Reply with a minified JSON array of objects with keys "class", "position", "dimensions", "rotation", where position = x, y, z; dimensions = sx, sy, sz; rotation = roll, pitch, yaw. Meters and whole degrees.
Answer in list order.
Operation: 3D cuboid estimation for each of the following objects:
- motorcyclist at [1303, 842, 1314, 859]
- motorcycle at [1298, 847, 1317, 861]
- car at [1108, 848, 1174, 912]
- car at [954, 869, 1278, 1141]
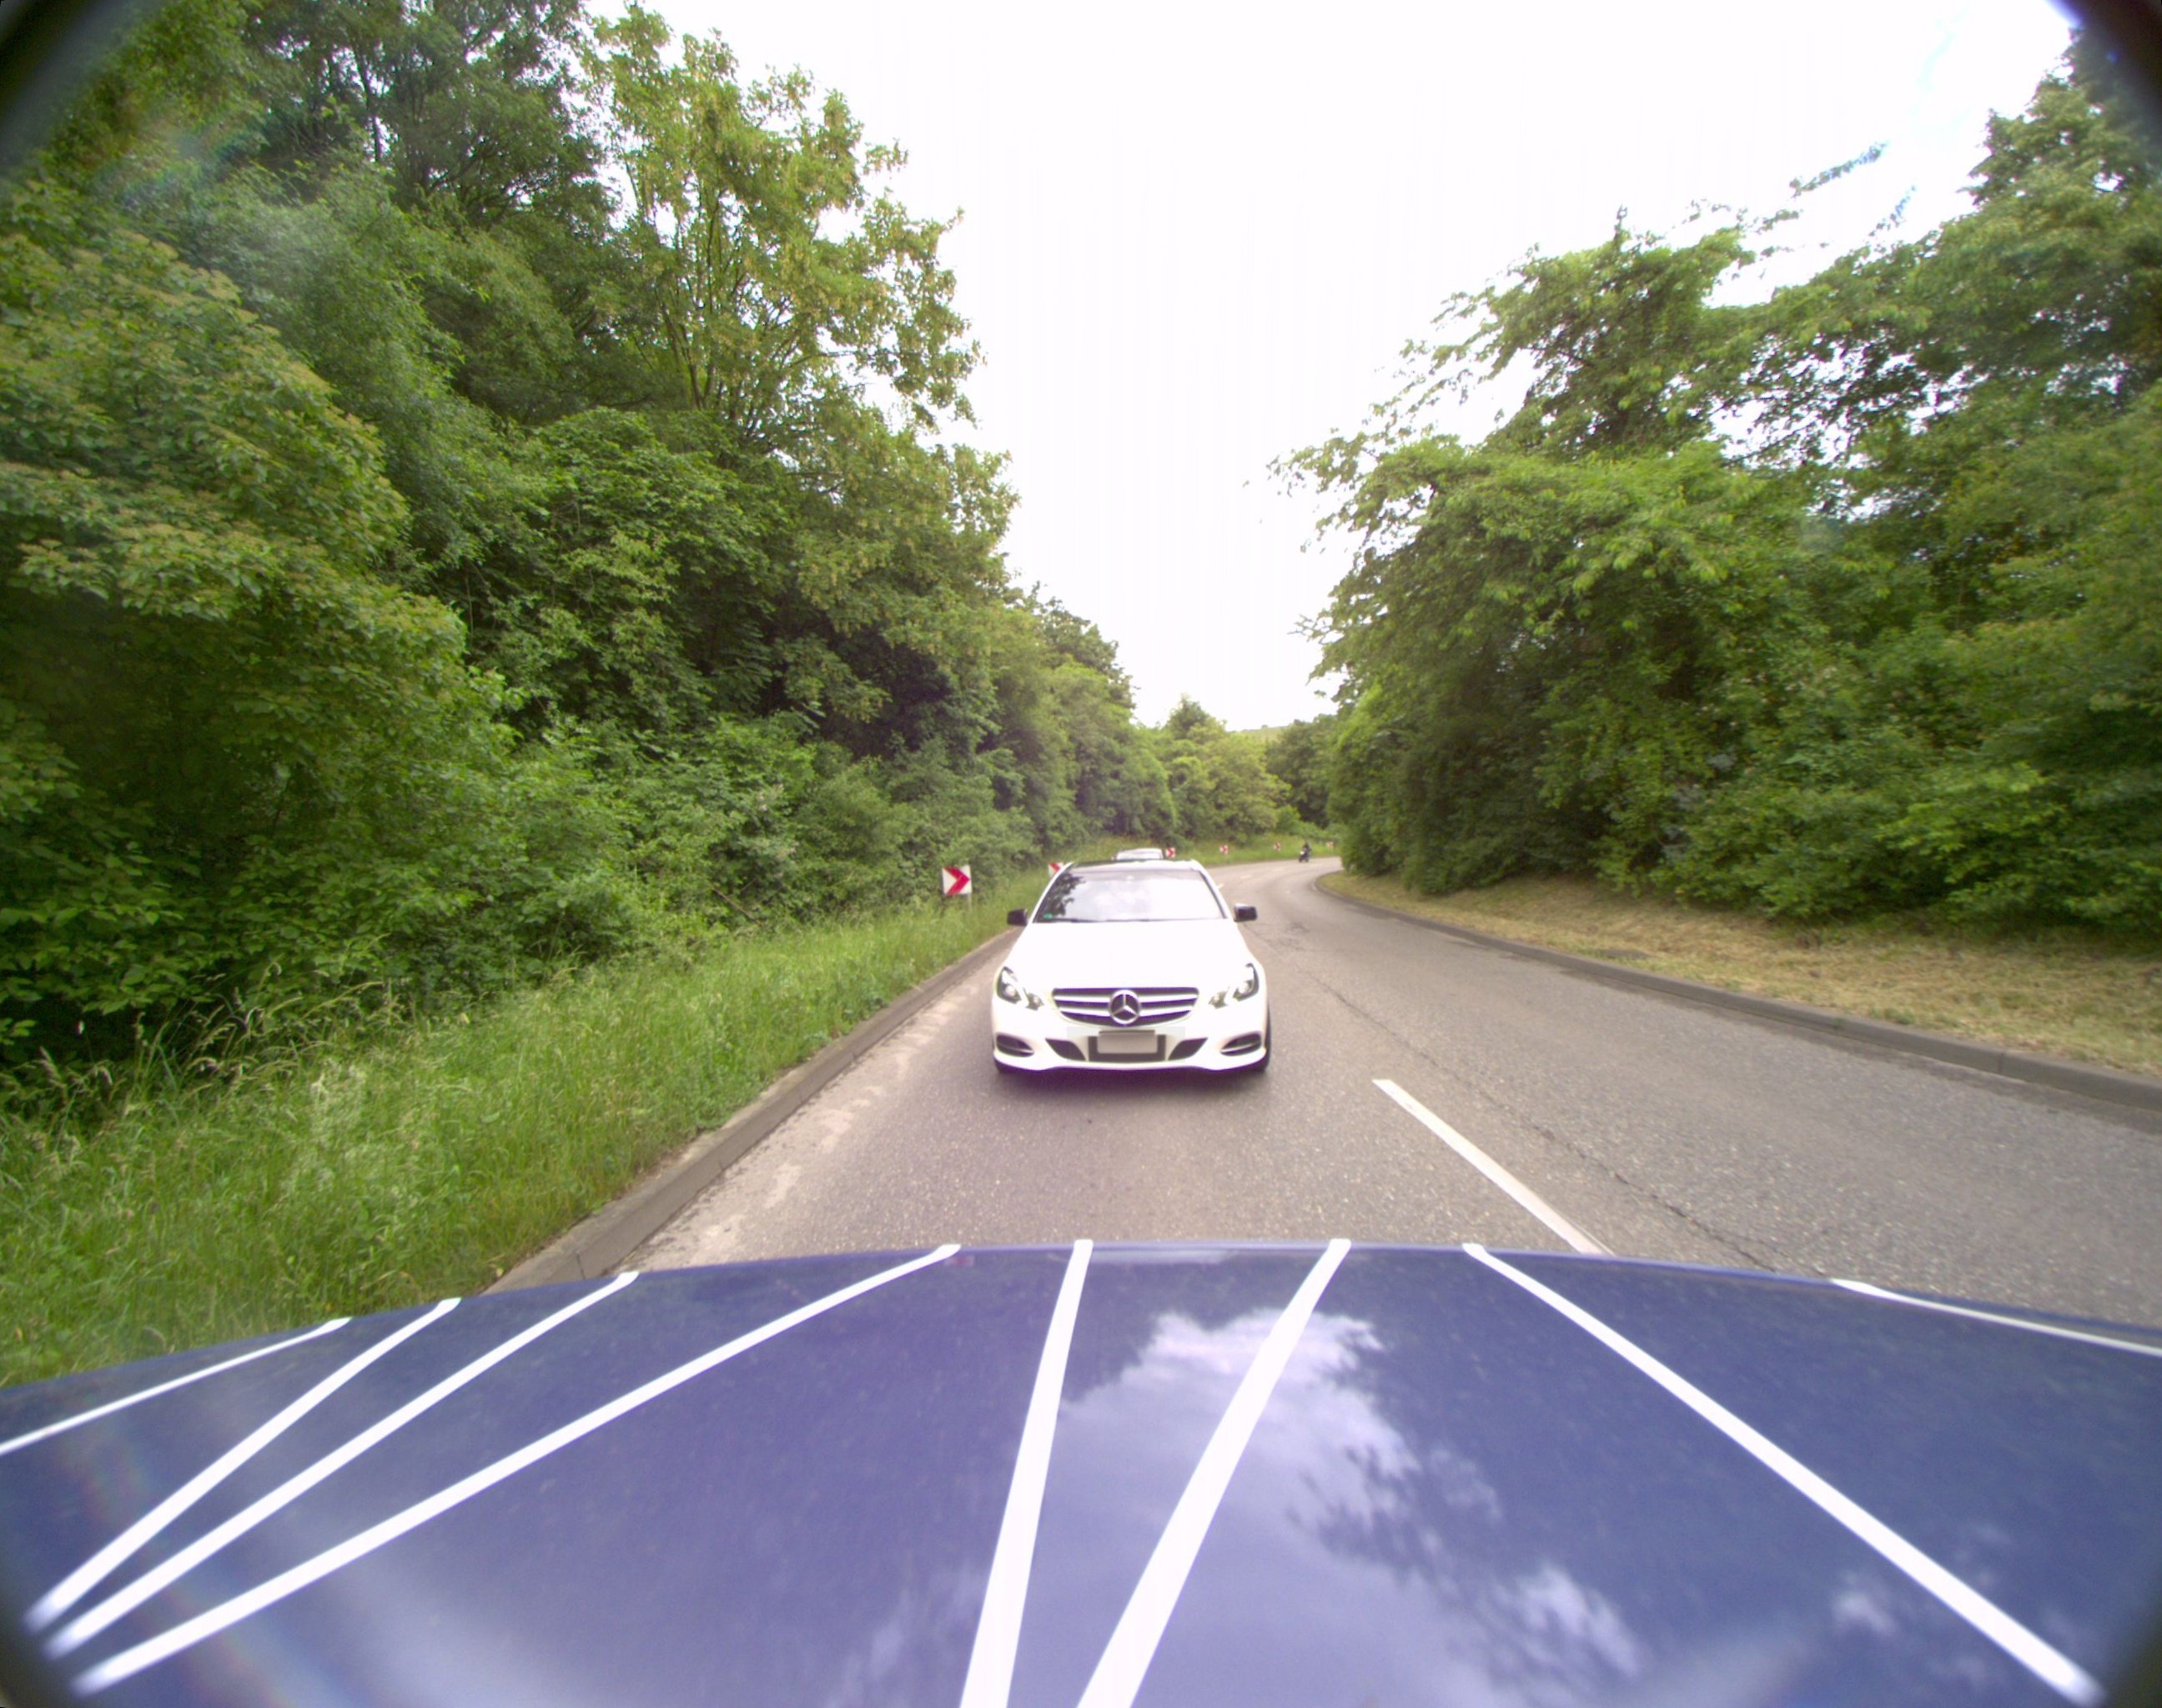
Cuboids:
[{"class":"motorcyclist","position":[17.416,-0.297,58.175],"dimensions":[0.565,1.288,0.708],"rotation":[4,4,43]},{"class":"motorcycle","position":[17.373,-0.022,58.148],"dimensions":[0.676,1.006,1.678],"rotation":[4,4,43]},{"class":"car","position":[1.801,0.656,21.810],"dimensions":[1.552,1.635,3.742],"rotation":[1,1,10]},{"class":"car","position":[0.392,0.909,6.568],"dimensions":[1.866,1.423,4.357],"rotation":[0,1,5]}]
